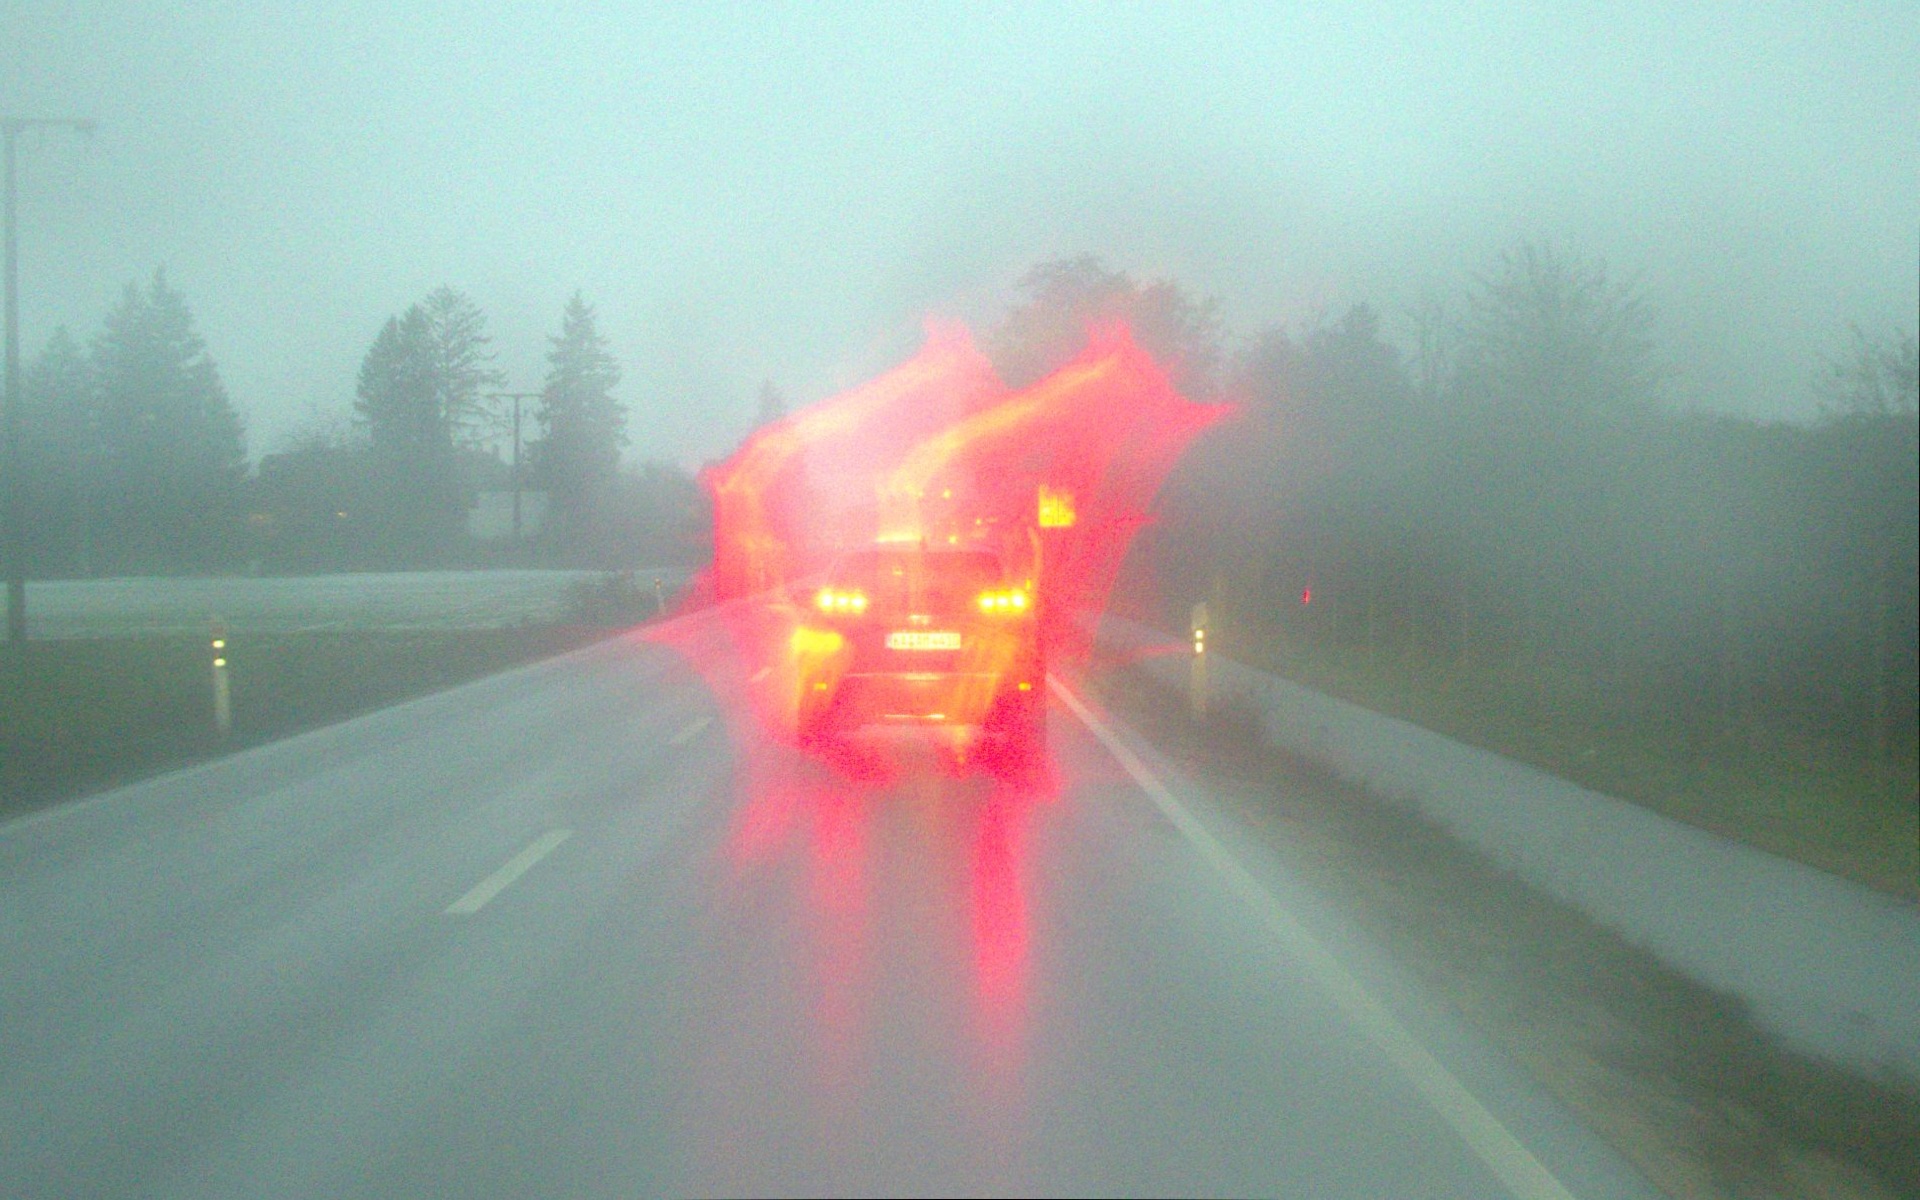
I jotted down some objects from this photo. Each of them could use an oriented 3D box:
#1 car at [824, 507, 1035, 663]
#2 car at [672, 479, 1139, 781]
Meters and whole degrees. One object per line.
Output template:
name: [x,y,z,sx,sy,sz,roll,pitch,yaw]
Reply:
car: [-0.390,-0.270,48.649,2.756,2.028,6.591,-1,1,0]
car: [-0.359,0.134,26.874,3.164,2.028,6.852,-1,1,0]
